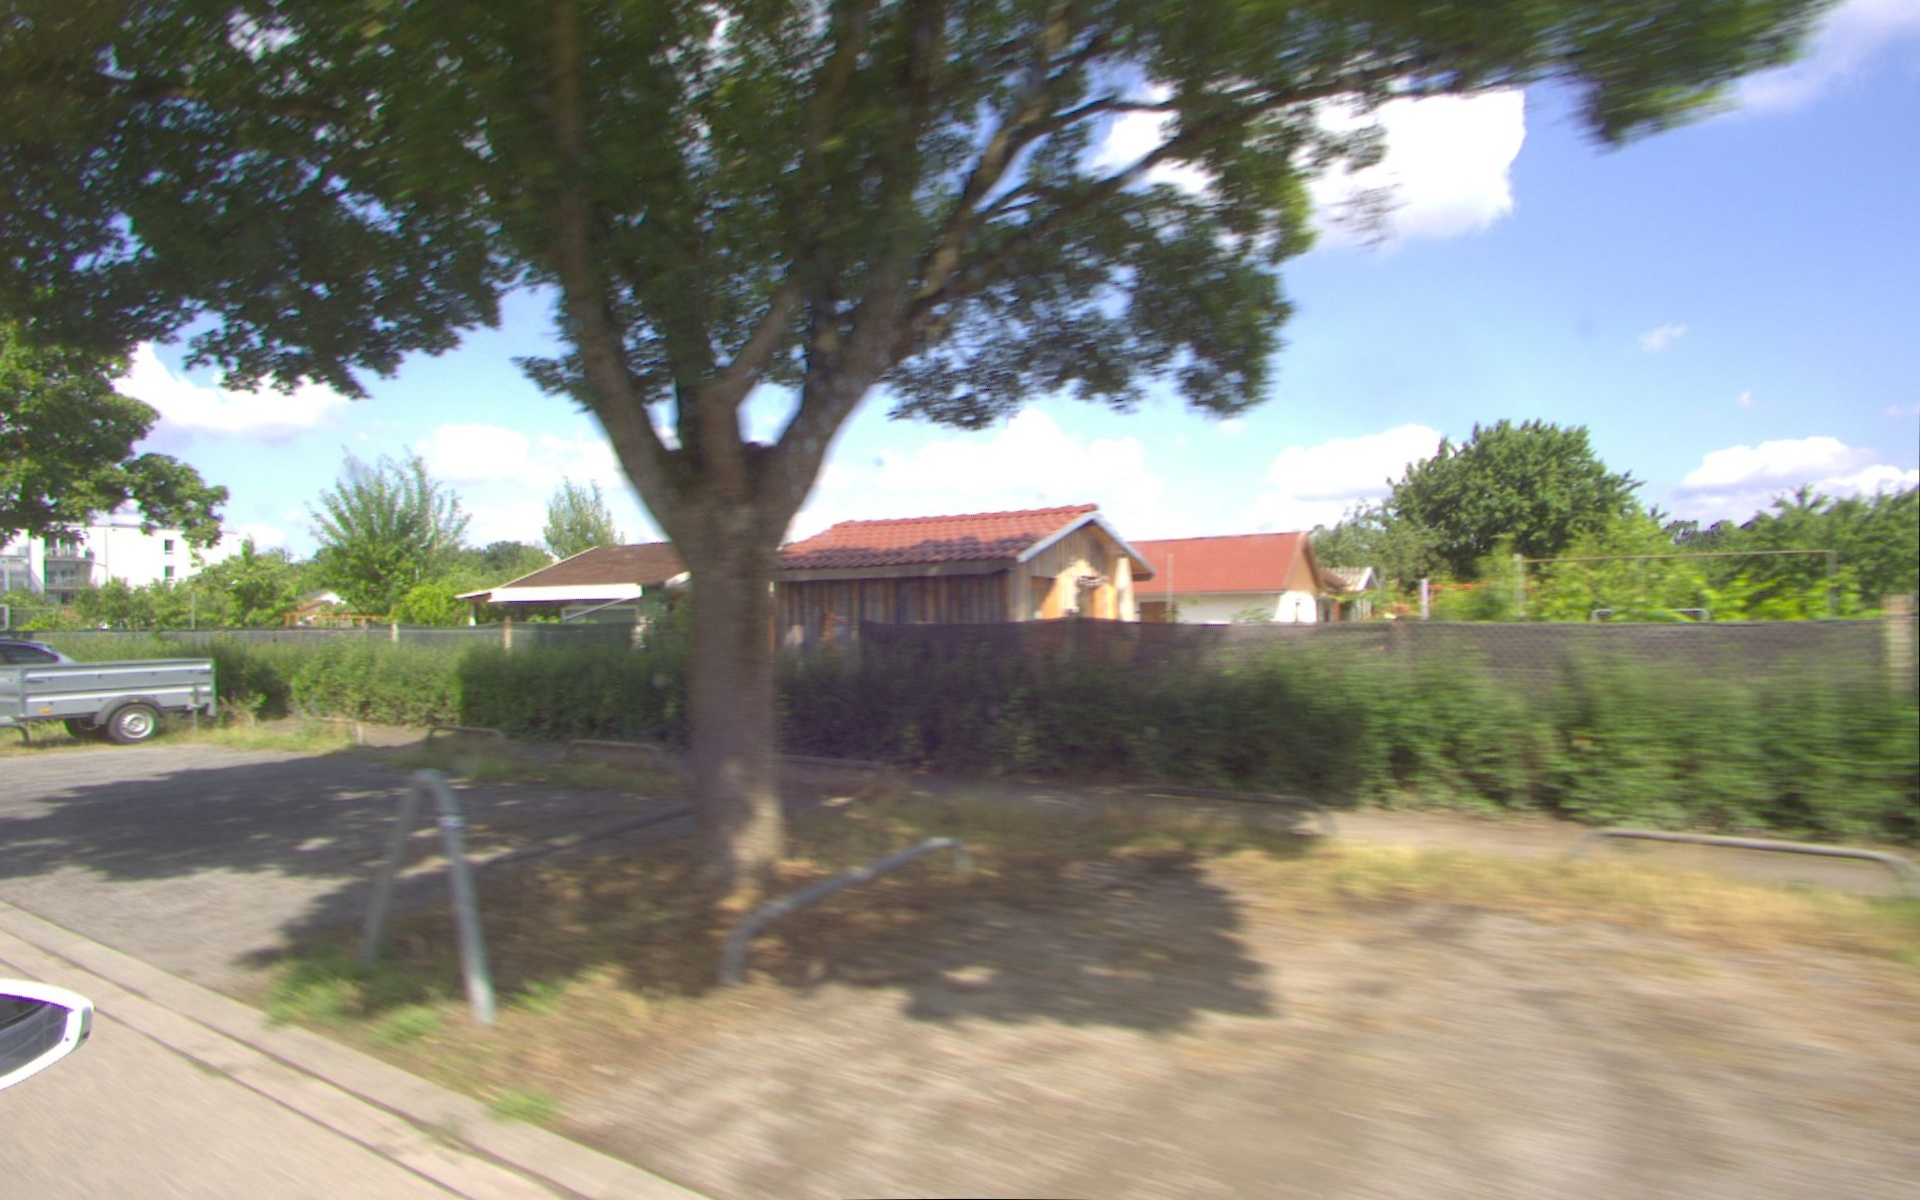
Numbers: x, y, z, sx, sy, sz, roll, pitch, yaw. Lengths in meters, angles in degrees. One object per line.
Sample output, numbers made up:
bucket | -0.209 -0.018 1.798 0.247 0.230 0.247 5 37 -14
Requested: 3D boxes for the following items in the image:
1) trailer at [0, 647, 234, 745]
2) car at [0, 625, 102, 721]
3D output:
trailer | -11.902 1.220 13.368 1.972 1.157 3.095 -1 -3 32
car | -16.270 1.137 15.180 1.969 1.485 4.574 -1 -1 29
